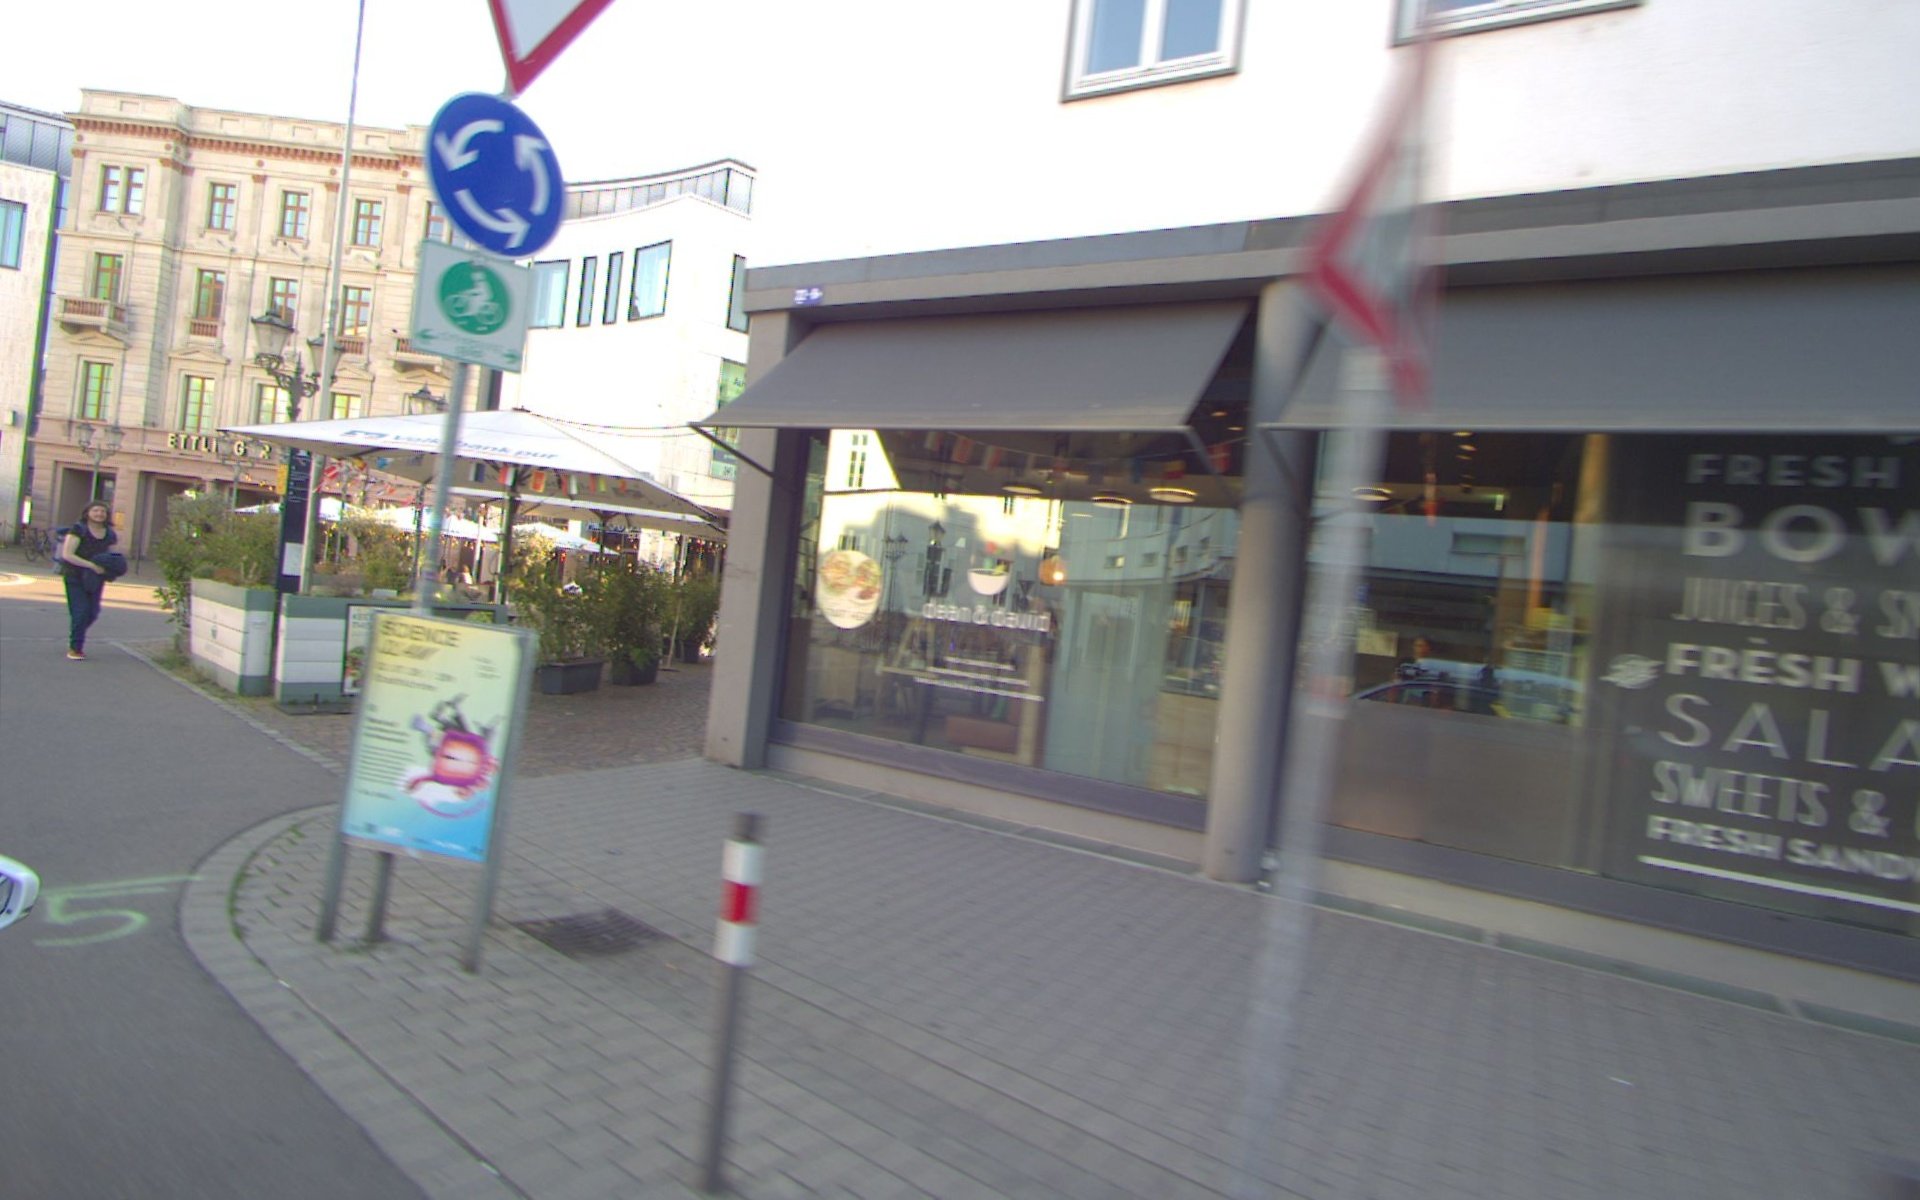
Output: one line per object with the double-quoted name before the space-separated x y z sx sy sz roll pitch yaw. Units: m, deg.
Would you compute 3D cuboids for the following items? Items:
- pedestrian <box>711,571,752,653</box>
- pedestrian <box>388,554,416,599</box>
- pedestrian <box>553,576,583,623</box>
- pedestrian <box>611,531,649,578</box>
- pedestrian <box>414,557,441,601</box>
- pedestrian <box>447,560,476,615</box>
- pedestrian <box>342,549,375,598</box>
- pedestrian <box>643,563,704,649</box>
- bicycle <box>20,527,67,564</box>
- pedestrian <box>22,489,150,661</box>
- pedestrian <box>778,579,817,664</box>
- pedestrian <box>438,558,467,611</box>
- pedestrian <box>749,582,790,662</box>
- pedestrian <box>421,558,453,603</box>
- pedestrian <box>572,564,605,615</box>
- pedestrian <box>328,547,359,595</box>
"pedestrian" -5.605 0.290 24.656 0.676 1.920 0.869 6 0 -21
"pedestrian" -19.680 -0.834 35.474 0.615 1.497 0.589 7 0 42
"pedestrian" -12.001 -0.019 30.780 0.545 1.326 0.716 6 0 -40
"pedestrian" -12.813 -1.745 39.062 0.851 1.668 0.931 6 0 21
"pedestrian" -19.190 -0.765 36.246 0.615 1.497 0.543 7 0 42
"pedestrian" -14.476 -0.361 29.196 0.526 1.497 0.556 6 0 -39
"pedestrian" -19.508 -0.867 32.627 0.673 1.497 0.587 7 0 34
"pedestrian" -7.040 0.158 24.761 1.008 1.956 1.010 6 0 1
"bicycle" -28.667 -1.692 31.489 0.501 1.044 1.636 6 -1 -24
"pedestrian" -9.043 -0.247 10.417 0.684 1.668 0.691 7 0 30
"pedestrian" -3.749 0.496 23.187 0.457 1.877 0.556 6 0 -45
"pedestrian" -15.049 -0.466 29.831 0.526 1.497 0.556 6 0 -41
"pedestrian" -4.314 0.497 22.747 0.498 1.711 0.596 6 0 -42
"pedestrian" -18.457 -0.695 35.536 0.612 1.497 0.624 6 0 20
"pedestrian" -12.990 -0.376 35.142 0.683 1.668 0.692 7 0 42
"pedestrian" -20.309 -0.948 33.139 0.614 1.497 0.544 7 0 32
